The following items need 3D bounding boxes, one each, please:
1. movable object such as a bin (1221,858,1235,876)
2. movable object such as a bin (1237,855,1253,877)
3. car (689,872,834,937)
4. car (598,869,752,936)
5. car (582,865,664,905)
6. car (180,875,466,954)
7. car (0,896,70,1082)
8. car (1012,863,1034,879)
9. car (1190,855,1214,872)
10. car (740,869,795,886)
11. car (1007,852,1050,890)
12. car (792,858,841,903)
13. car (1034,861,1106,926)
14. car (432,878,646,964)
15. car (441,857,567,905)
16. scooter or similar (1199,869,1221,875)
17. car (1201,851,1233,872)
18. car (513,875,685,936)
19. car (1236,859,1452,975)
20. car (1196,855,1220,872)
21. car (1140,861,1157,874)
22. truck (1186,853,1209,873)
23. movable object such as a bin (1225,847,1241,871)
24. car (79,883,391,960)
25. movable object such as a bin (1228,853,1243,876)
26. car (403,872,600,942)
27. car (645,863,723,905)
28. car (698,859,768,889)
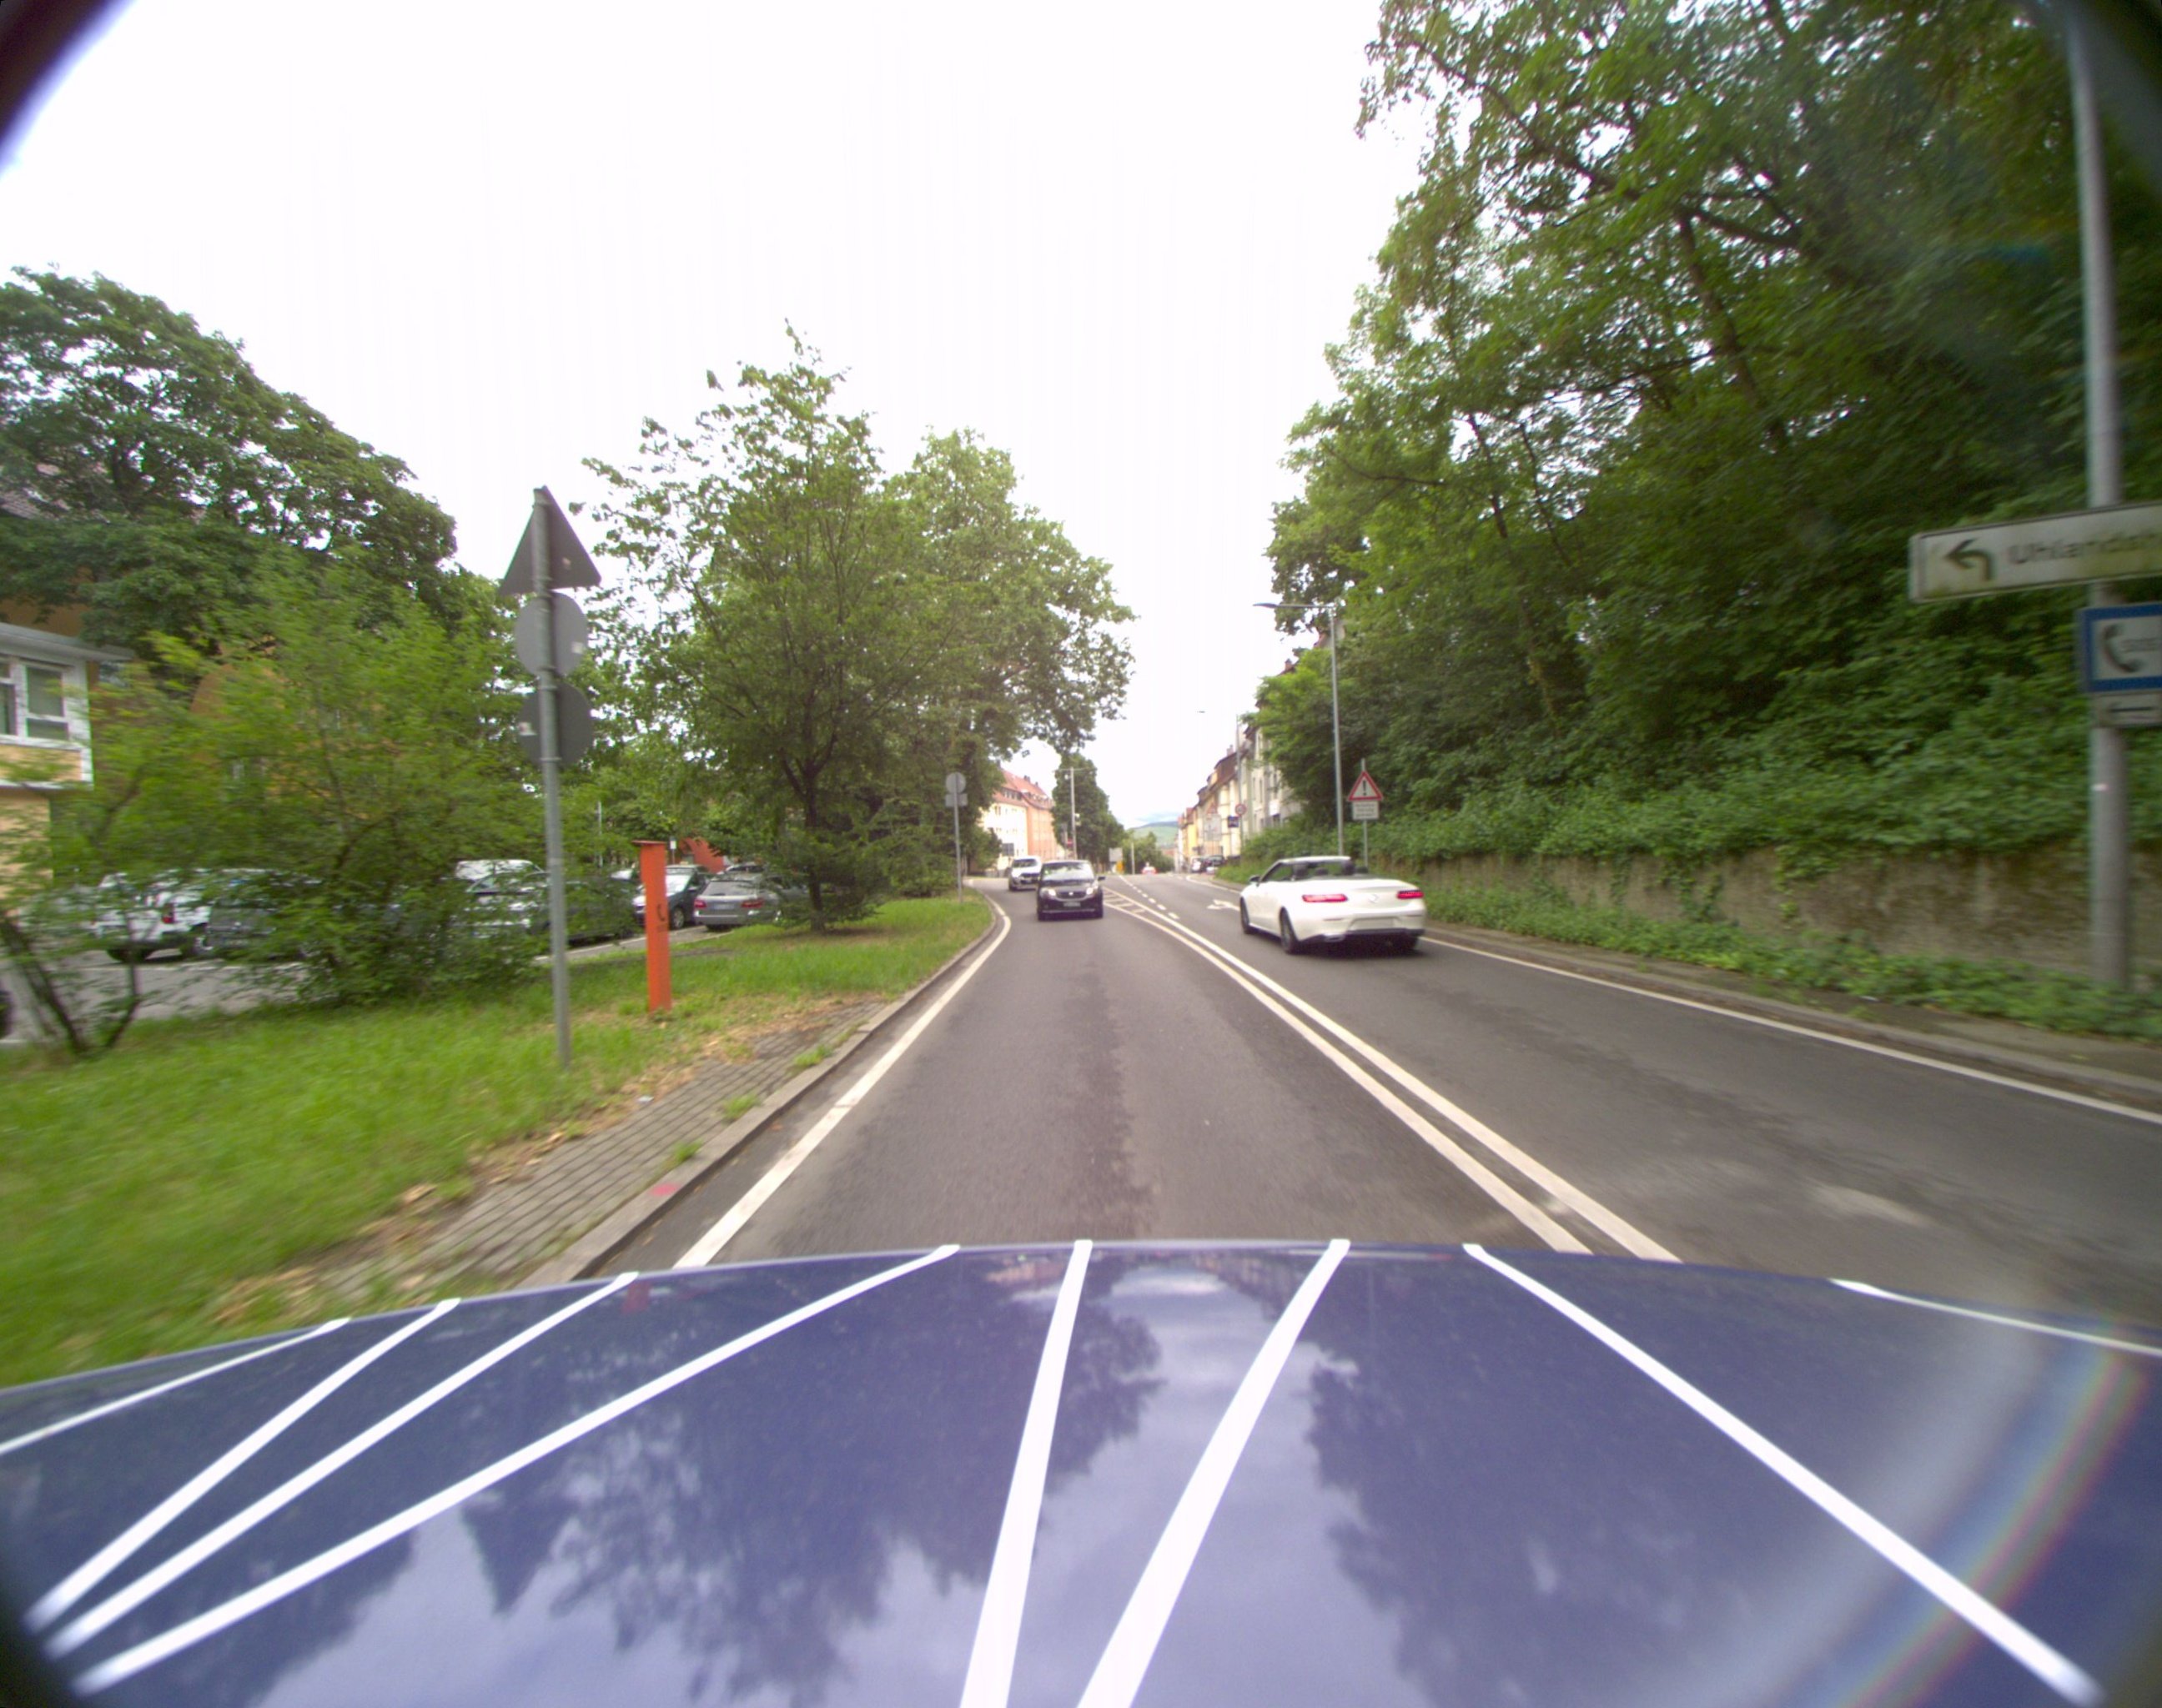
[{"bbox_3d":[7.874,0.696,40.681,0.517,0.962,0.444,-5,0,-9],"label":"movable object such as a bin"},{"bbox_3d":[8.258,0.607,38.221,0.557,1.019,0.430,-5,0,-9],"label":"movable object such as a bin"},{"bbox_3d":[-8.562,1.273,20.937,1.789,1.433,5.063,-1,0,1],"label":"car"},{"bbox_3d":[-11.139,1.259,21.278,1.789,1.549,4.594,-1,0,1],"label":"car"},{"bbox_3d":[-18.573,1.218,31.001,1.738,1.420,4.125,0,0,-14],"label":"car"},{"bbox_3d":[-15.734,1.245,16.127,1.810,1.433,4.011,-2,-3,7],"label":"car"},{"bbox_3d":[-10.949,1.255,4.992,1.812,1.656,4.887,0,1,7],"label":"car"},{"bbox_3d":[-5.891,1.702,77.588,1.783,1.583,3.535,0,-1,4],"label":"car"},{"bbox_3d":[12.153,0.943,76.456,1.998,1.542,4.385,-2,-2,5],"label":"car"},{"bbox_3d":[-26.074,1.932,63.305,4.134,1.419,1.735,0,-1,-20],"label":"car"},{"bbox_3d":[-2.524,0.792,37.448,1.780,1.598,4.162,-4,0,-1],"label":"car"},{"bbox_3d":[-11.036,1.044,31.832,1.816,1.655,4.876,0,1,-19],"label":"car"},{"bbox_3d":[-0.377,0.962,19.977,1.604,1.448,3.682,-2,0,-5],"label":"car"},{"bbox_3d":[-11.406,1.335,16.370,1.748,1.434,3.898,-1,1,1],"label":"car"},{"bbox_3d":[-25.407,1.129,33.713,1.998,1.875,4.599,-1,1,0],"label":"car"},{"bbox_3d":[8.294,1.157,48.880,1.127,0.286,1.098,-1,0,-9],"label":"scooter or similar"},{"bbox_3d":[10.113,0.593,56.785,1.997,1.392,4.521,-2,-2,7],"label":"car"},{"bbox_3d":[-13.179,1.353,21.179,1.789,1.370,4.594,-1,0,1],"label":"car"},{"bbox_3d":[3.814,0.824,11.938,1.873,1.363,4.455,-2,0,1],"label":"car"},{"bbox_3d":[11.905,0.900,71.498,1.997,1.465,4.162,-2,-2,7],"label":"car"},{"bbox_3d":[9.208,1.814,104.271,1.874,1.688,4.936,-2,0,1],"label":"car"},{"bbox_3d":[12.583,0.990,82.304,1.998,1.908,5.351,-2,-2,5],"label":"truck"},{"bbox_3d":[8.003,0.262,40.066,0.606,1.178,0.492,-5,0,-9],"label":"movable object such as a bin"},{"bbox_3d":[-18.006,1.406,16.548,1.810,1.433,4.249,-2,-3,7],"label":"car"},{"bbox_3d":[8.049,0.549,39.538,0.582,1.178,0.430,-5,0,-9],"label":"movable object such as a bin"},{"bbox_3d":[-15.649,1.353,20.875,1.789,1.584,4.407,-1,0,5],"label":"car"},{"bbox_3d":[-16.251,1.195,31.328,1.738,1.560,4.126,0,0,-11],"label":"car"},{"bbox_3d":[-20.469,1.168,44.616,4.412,1.476,1.867,3,0,38],"label":"car"}]
